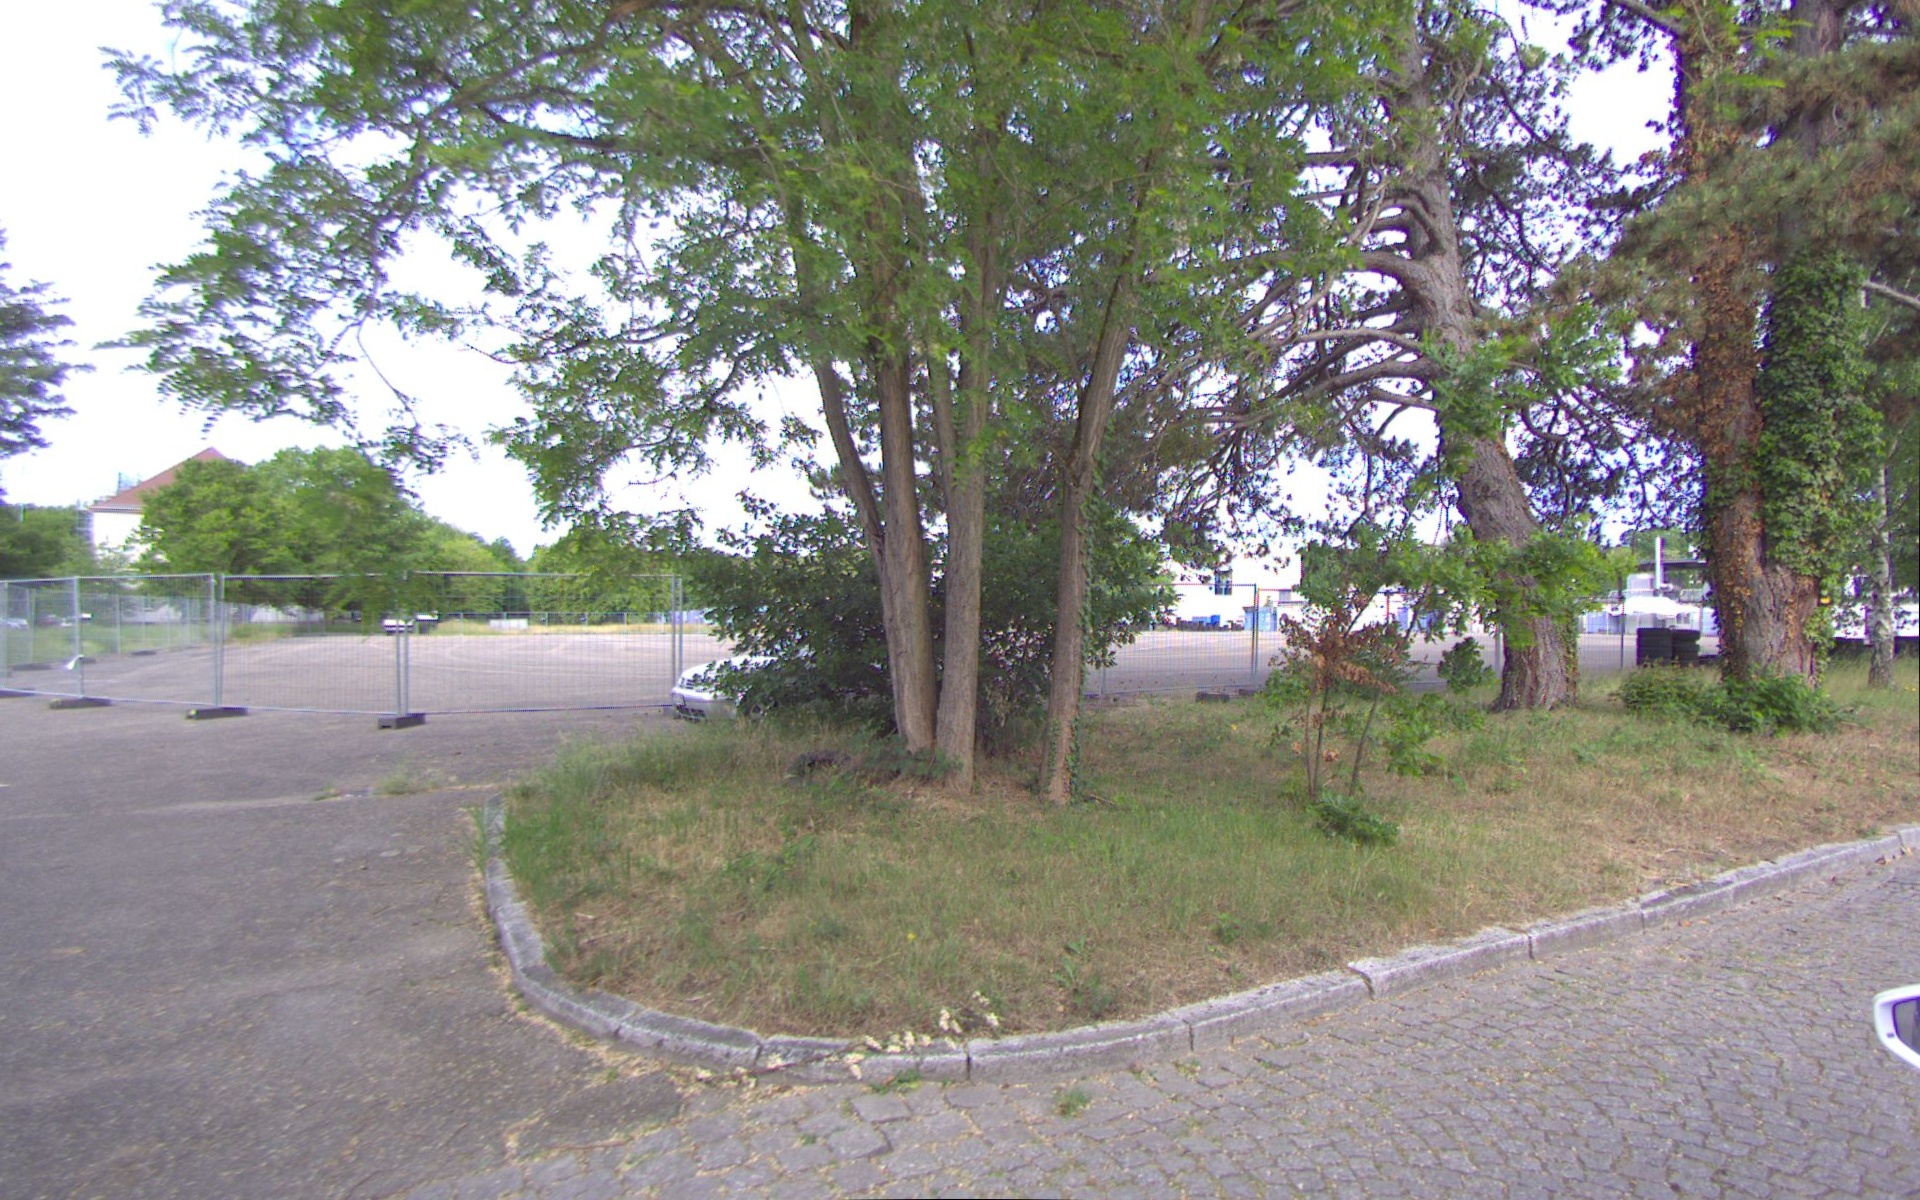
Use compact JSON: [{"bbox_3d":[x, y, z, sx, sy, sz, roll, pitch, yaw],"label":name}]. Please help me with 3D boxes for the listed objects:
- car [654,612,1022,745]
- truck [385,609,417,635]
[{"bbox_3d":[-1.492,0.891,12.929,4.417,1.457,1.706,1,-1,-32],"label":"car"},{"bbox_3d":[-49.769,1.917,89.453,2.346,2.227,6.505,1,-1,-29],"label":"truck"}]
